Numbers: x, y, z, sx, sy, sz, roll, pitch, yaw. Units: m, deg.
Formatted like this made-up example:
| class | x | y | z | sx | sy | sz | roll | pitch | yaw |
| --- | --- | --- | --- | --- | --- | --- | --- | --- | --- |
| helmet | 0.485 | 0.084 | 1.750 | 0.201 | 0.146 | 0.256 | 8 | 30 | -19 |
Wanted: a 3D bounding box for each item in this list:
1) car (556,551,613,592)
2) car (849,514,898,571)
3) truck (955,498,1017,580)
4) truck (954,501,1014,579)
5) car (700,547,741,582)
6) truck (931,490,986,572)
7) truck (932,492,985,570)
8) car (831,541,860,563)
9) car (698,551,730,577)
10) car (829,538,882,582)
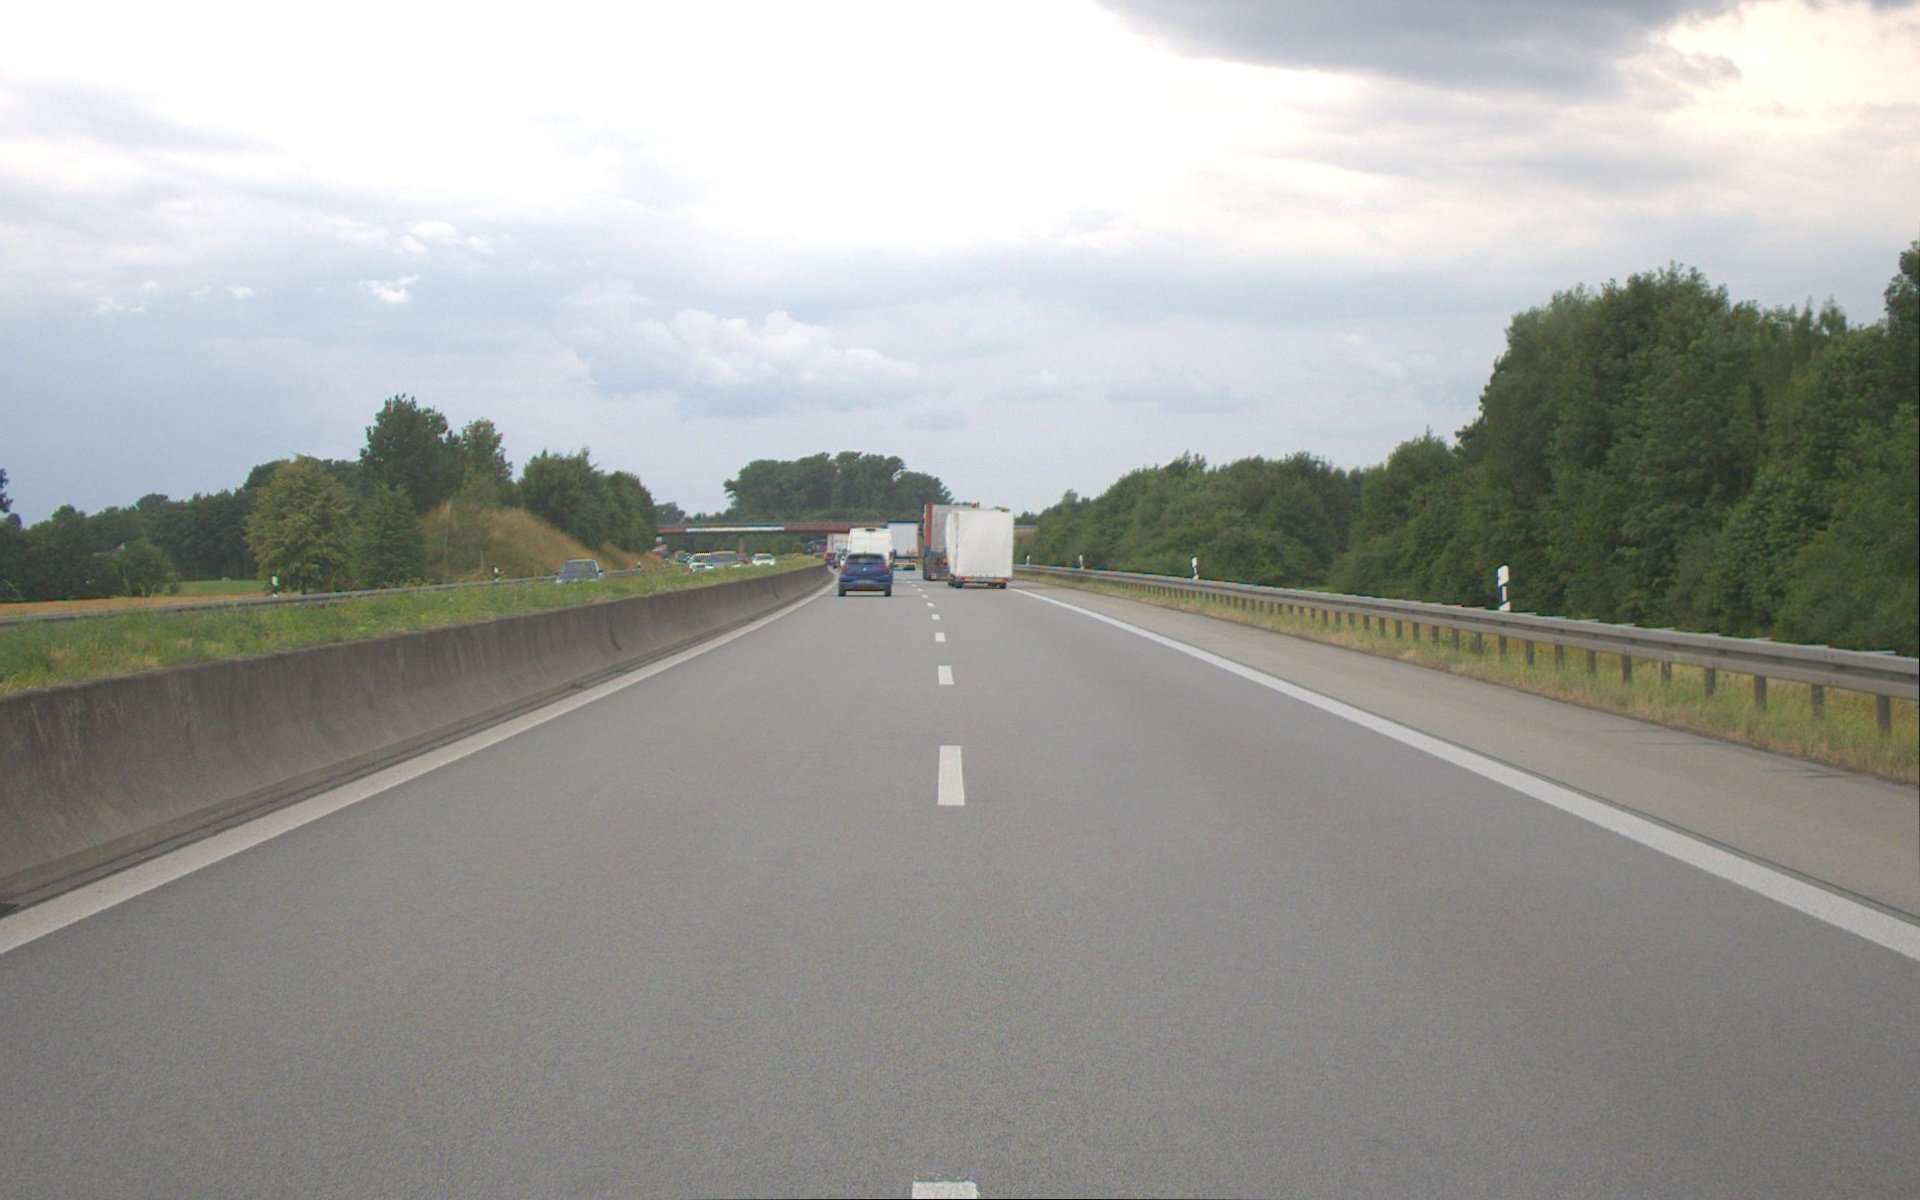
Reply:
| class | x | y | z | sx | sy | sz | roll | pitch | yaw |
| --- | --- | --- | --- | --- | --- | --- | --- | --- | --- |
| car | -14.474 | -1.114 | 132.820 | 1.746 | 1.482 | 4.530 | -2 | 1 | -1 |
| car | -3.840 | -2.552 | 154.066 | 2.130 | 2.474 | 5.840 | 0 | 1 | -1 |
| truck | 1.022 | -2.437 | 138.653 | 2.415 | 3.211 | 7.144 | 0 | 1 | 0 |
| truck | 0.984 | -2.526 | 145.847 | 2.429 | 3.232 | 7.247 | 0 | 1 | 0 |
| car | -12.148 | -1.803 | 174.733 | 1.841 | 1.688 | 4.358 | -2 | 1 | -2 |
| truck | -0.063 | -3.530 | 175.556 | 2.673 | 4.032 | 11.108 | -1 | 1 | 0 |
| truck | -0.065 | -3.641 | 181.015 | 2.673 | 4.032 | 5.512 | -1 | 1 | 0 |
| car | -8.671 | -3.633 | 259.752 | 1.993 | 1.678 | 4.001 | 0 | 1 | -5 |
| car | -16.335 | -2.393 | 228.471 | 1.836 | 1.621 | 4.691 | -2 | 1 | -2 |
| car | -3.418 | -1.296 | 111.816 | 1.663 | 1.402 | 3.649 | 0 | 1 | -3 |
